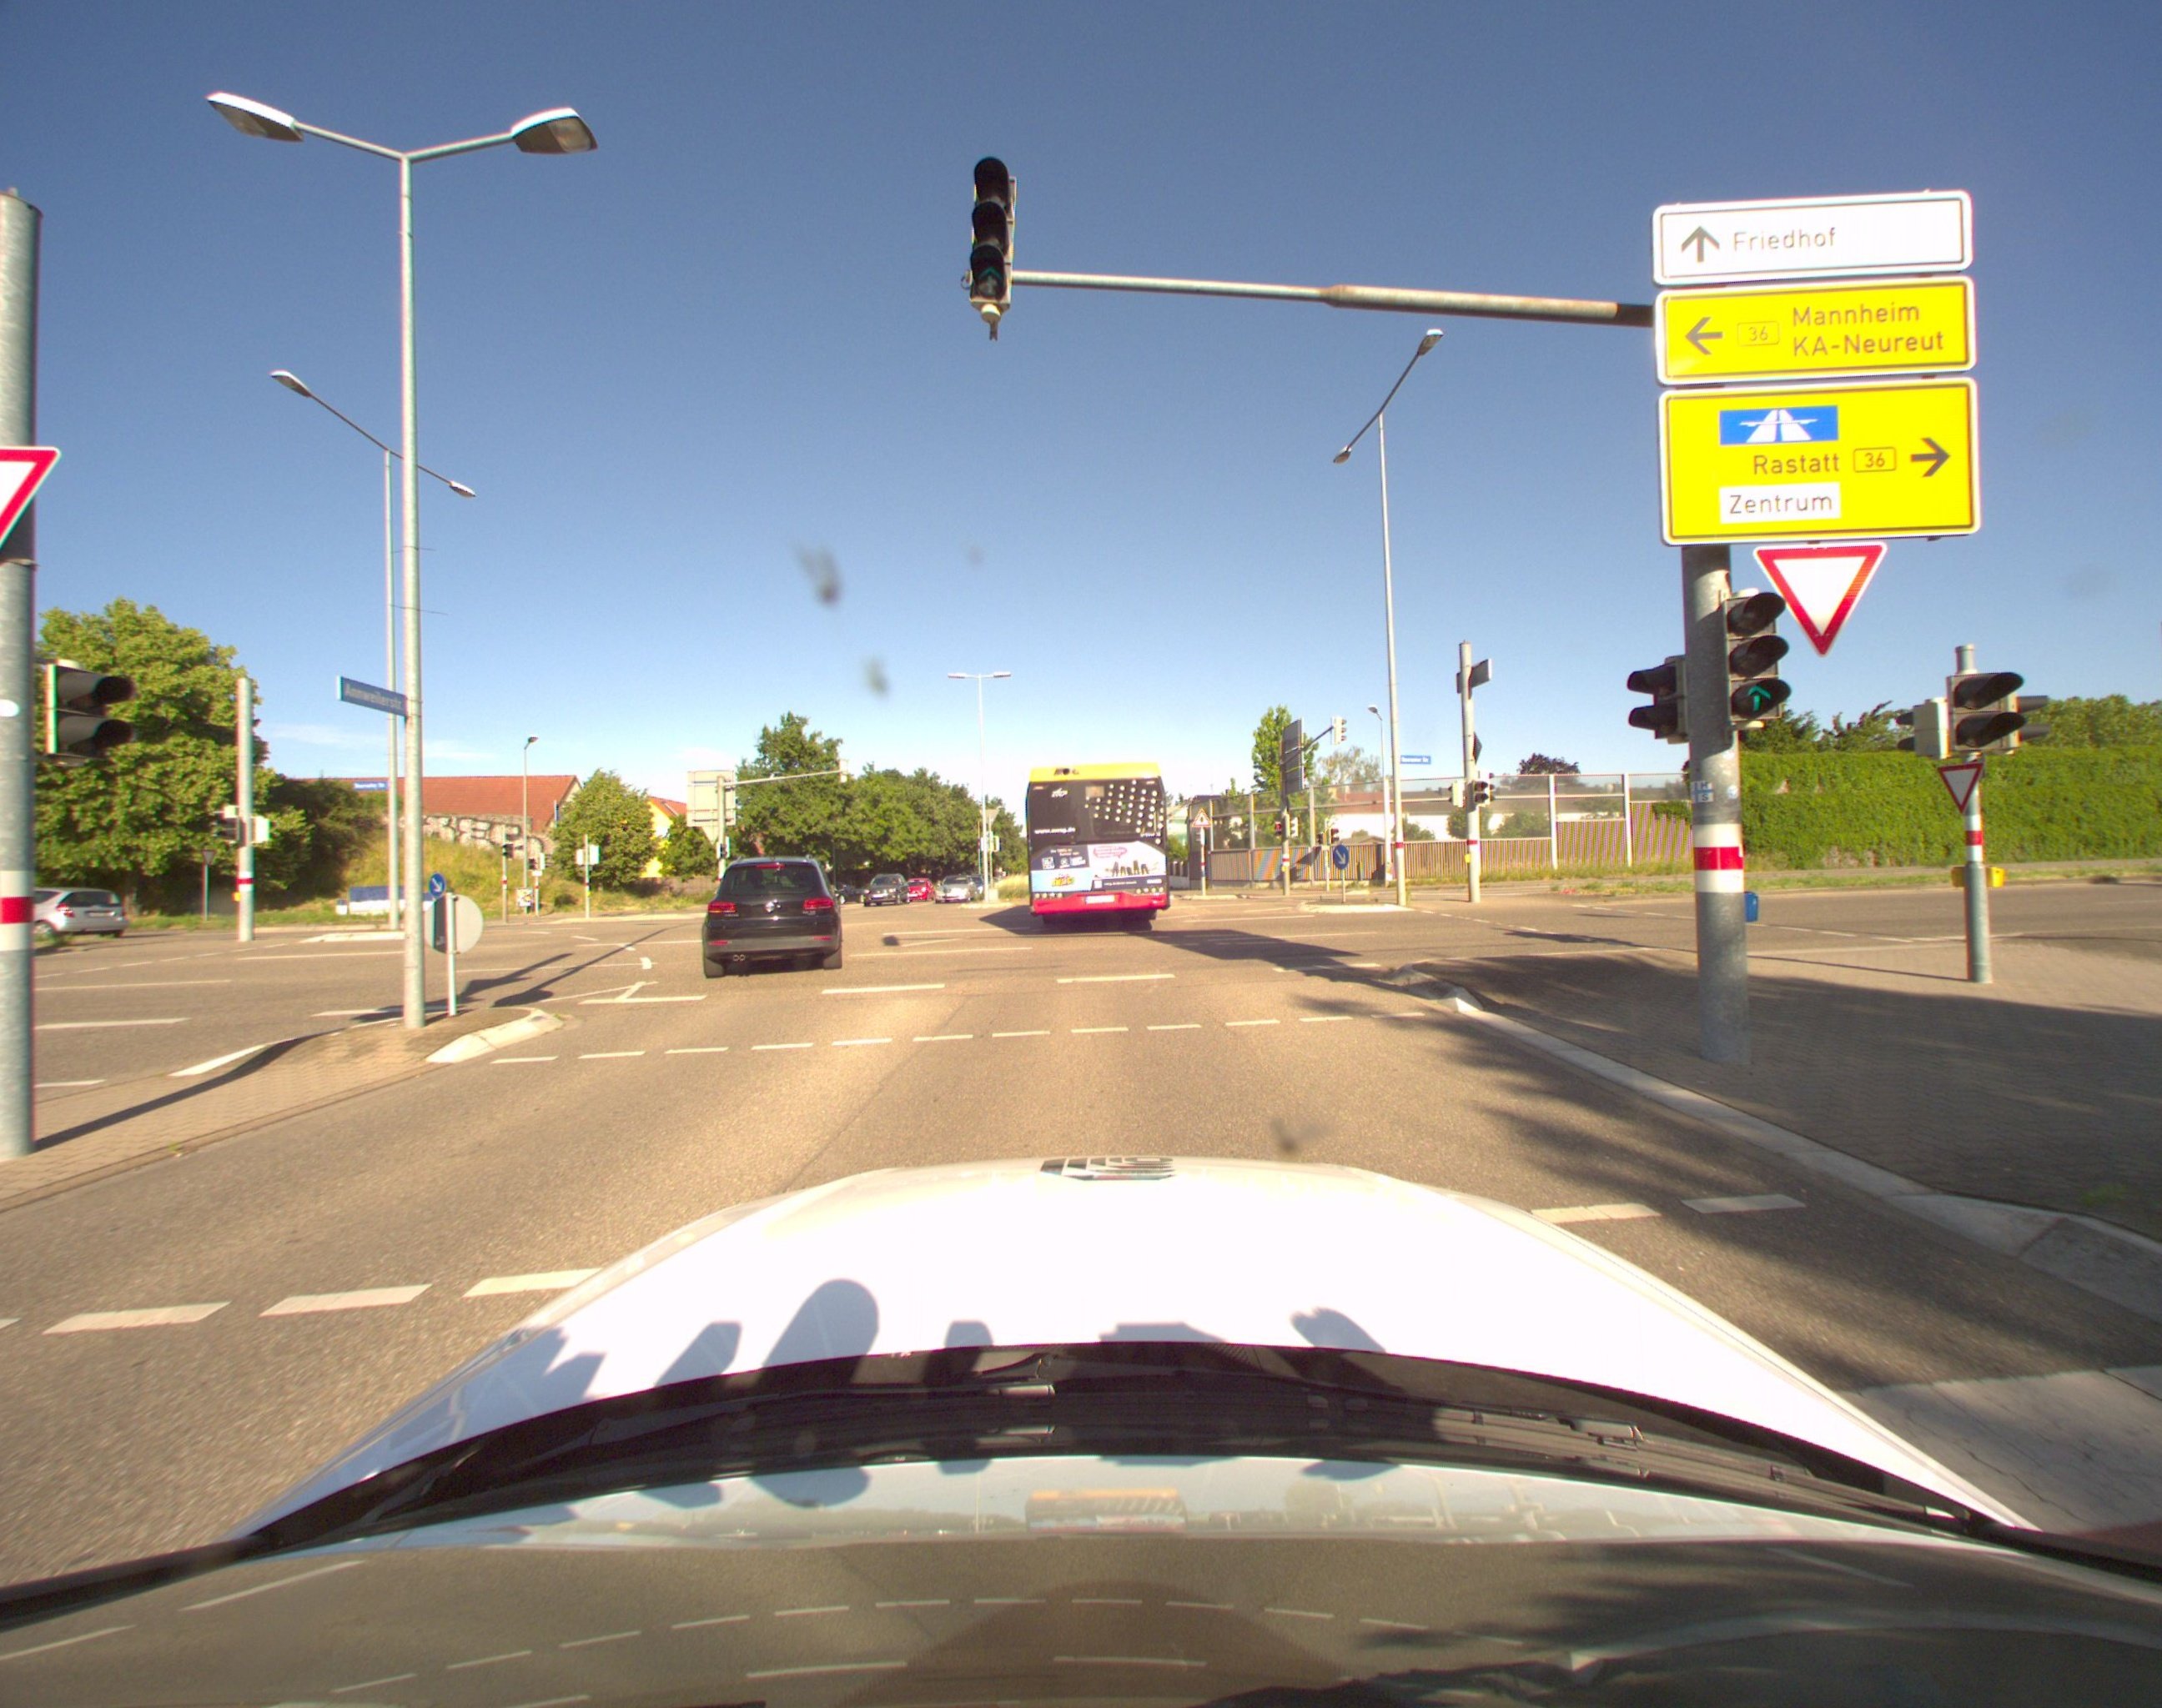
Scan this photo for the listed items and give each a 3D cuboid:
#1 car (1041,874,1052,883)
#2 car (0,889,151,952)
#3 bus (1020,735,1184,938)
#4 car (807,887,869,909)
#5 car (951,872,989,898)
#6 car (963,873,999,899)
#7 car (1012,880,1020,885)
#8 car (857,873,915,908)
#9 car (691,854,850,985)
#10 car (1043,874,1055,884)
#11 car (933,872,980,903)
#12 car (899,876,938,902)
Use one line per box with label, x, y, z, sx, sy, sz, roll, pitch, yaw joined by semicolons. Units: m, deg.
car;-7.303;5.151;172.758;1.932;1.742;3.989;-1;-2;-7
car;-30.789;1.952;23.996;4.388;1.616;2.048;-2;1;1
bus;0.374;-0.281;20.533;2.748;3.458;12.395;-2;0;0
car;-15.665;2.833;52.691;2.030;1.310;4.693;-2;-3;8
car;-6.676;1.854;49.283;1.741;1.483;3.886;-2;-1;-1
car;-6.831;2.167;56.044;1.988;1.616;4.527;-2;-1;-1
car;-19.246;8.398;240.863;1.932;1.542;3.989;-1;-2;-7
car;-10.247;1.884;43.169;1.987;1.644;4.528;-2;-1;-1
car;-4.599;0.836;12.621;1.830;1.627;3.980;-1;1;-14
car;-5.945;4.679;150.366;1.934;1.704;3.989;-1;-2;-7
car;-6.562;1.754;43.377;1.788;1.506;4.528;-2;-1;-1
car;-10.033;2.118;50.447;1.640;1.483;3.712;-2;-1;-1
